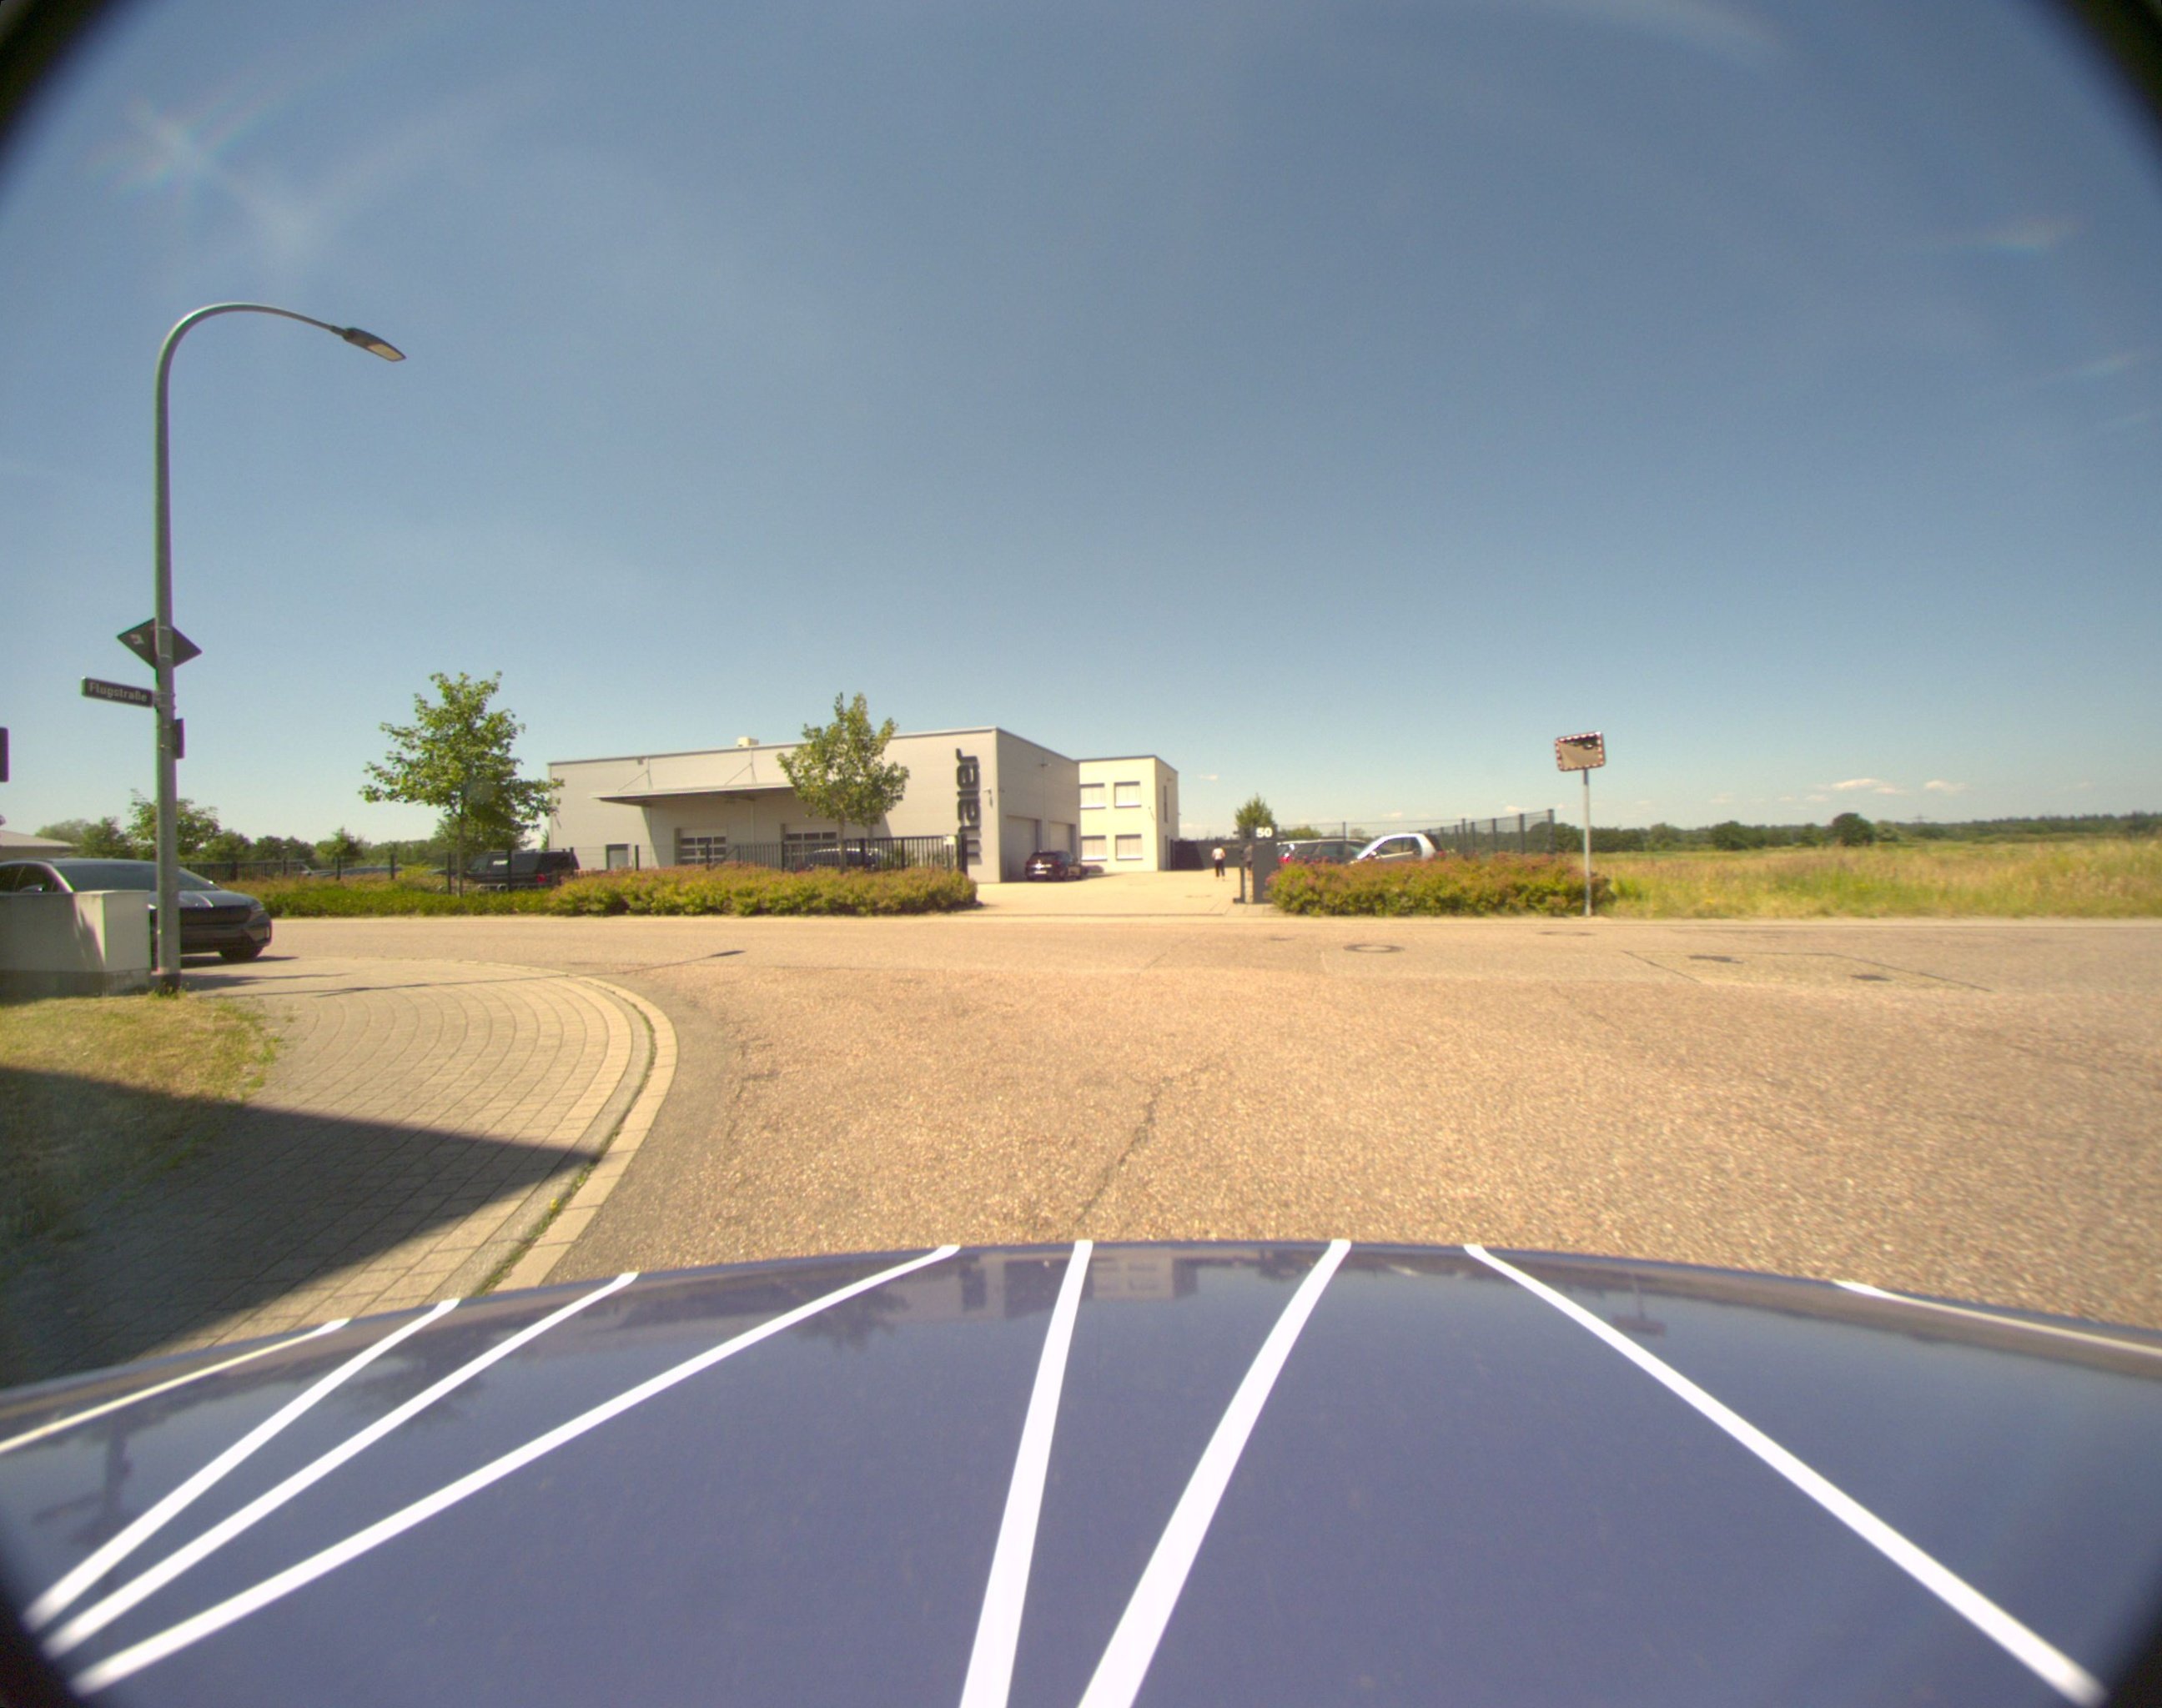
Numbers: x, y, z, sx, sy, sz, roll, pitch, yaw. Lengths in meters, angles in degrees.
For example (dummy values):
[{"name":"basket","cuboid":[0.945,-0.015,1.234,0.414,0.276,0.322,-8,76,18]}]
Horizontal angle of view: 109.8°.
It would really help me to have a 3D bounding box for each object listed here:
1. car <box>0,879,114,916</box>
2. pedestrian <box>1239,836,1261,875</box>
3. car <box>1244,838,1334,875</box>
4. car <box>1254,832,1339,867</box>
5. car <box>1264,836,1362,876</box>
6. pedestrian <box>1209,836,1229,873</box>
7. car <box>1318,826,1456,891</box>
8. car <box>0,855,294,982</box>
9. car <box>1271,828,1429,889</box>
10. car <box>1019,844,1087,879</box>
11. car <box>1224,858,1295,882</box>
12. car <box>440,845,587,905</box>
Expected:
[{"name":"car","cuboid":[-49.465,2.056,36.360,1.901,1.490,3.385,-2,1,15]},{"name":"pedestrian","cuboid":[7.409,0.054,33.280,0.829,1.673,0.712,-1,1,8]},{"name":"car","cuboid":[9.818,0.112,36.022,3.993,1.596,1.678,-2,0,13]},{"name":"car","cuboid":[10.672,-0.205,37.838,3.993,1.596,1.678,-1,1,13]},{"name":"car","cuboid":[10.108,0.079,33.397,3.993,1.596,1.678,-2,0,13]},{"name":"pedestrian","cuboid":[6.219,0.031,34.365,0.774,1.620,0.621,-2,1,2]},{"name":"car","cuboid":[7.627,0.115,19.189,2.992,1.511,1.707,-2,0,13]},{"name":"car","cuboid":[-14.497,0.934,11.316,4.599,1.652,1.812,-2,-2,14]},{"name":"car","cuboid":[7.433,0.132,21.391,3.993,1.532,1.833,-2,0,13]},{"name":"car","cuboid":[-1.198,0.291,34.143,1.794,1.412,3.875,-1,1,18]},{"name":"car","cuboid":[10.566,0.936,44.926,3.992,1.302,2.002,-1,1,16]},{"name":"car","cuboid":[-21.718,0.805,29.117,4.684,2.087,2.009,-1,2,17]}]
